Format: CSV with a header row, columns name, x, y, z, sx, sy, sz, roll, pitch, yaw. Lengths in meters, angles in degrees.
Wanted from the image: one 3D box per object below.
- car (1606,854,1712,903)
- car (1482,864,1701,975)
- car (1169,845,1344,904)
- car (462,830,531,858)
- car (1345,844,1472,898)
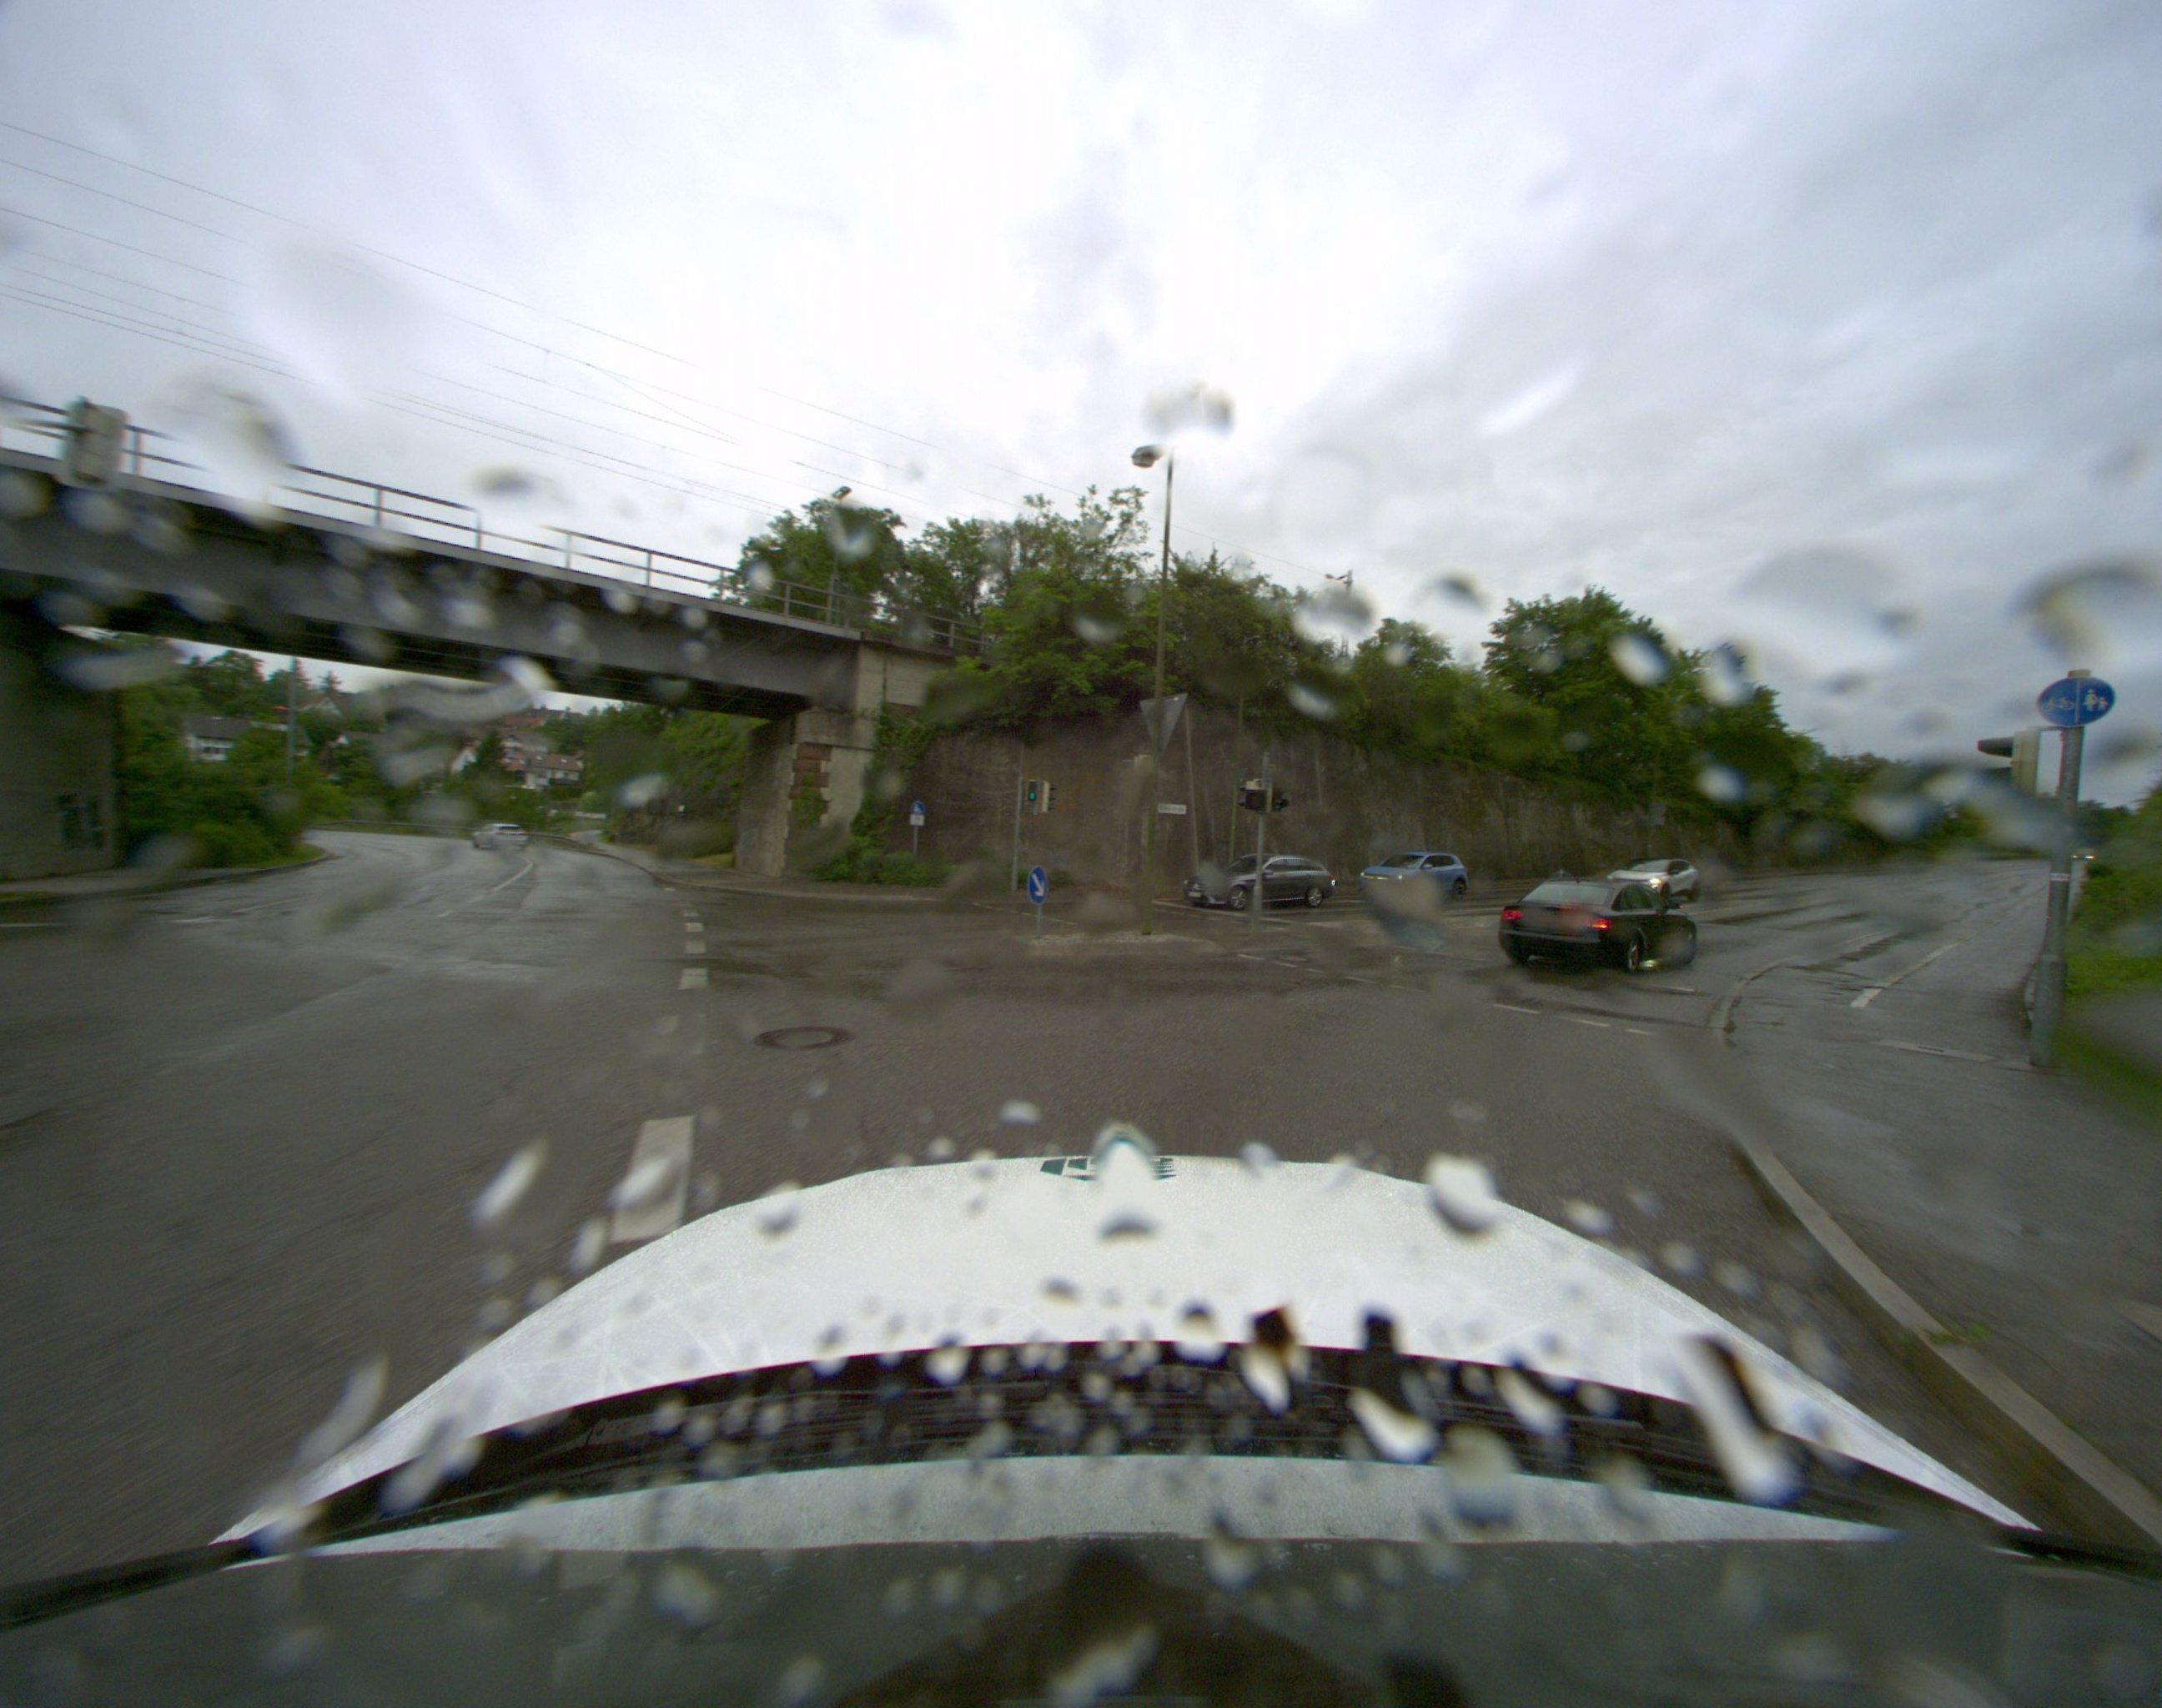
name,x,y,z,sx,sy,sz,roll,pitch,yaw
car,20.553,0.843,28.915,4.016,1.601,1.855,1,0,-35
car,8.420,0.924,13.285,4.229,1.492,1.876,0,0,-41
car,4.963,0.529,22.835,4.743,1.503,1.981,0,0,-31
car,-33.751,-0.575,47.007,3.948,1.562,2.013,0,0,35
car,10.758,0.528,26.674,4.064,1.657,1.803,1,0,-32
